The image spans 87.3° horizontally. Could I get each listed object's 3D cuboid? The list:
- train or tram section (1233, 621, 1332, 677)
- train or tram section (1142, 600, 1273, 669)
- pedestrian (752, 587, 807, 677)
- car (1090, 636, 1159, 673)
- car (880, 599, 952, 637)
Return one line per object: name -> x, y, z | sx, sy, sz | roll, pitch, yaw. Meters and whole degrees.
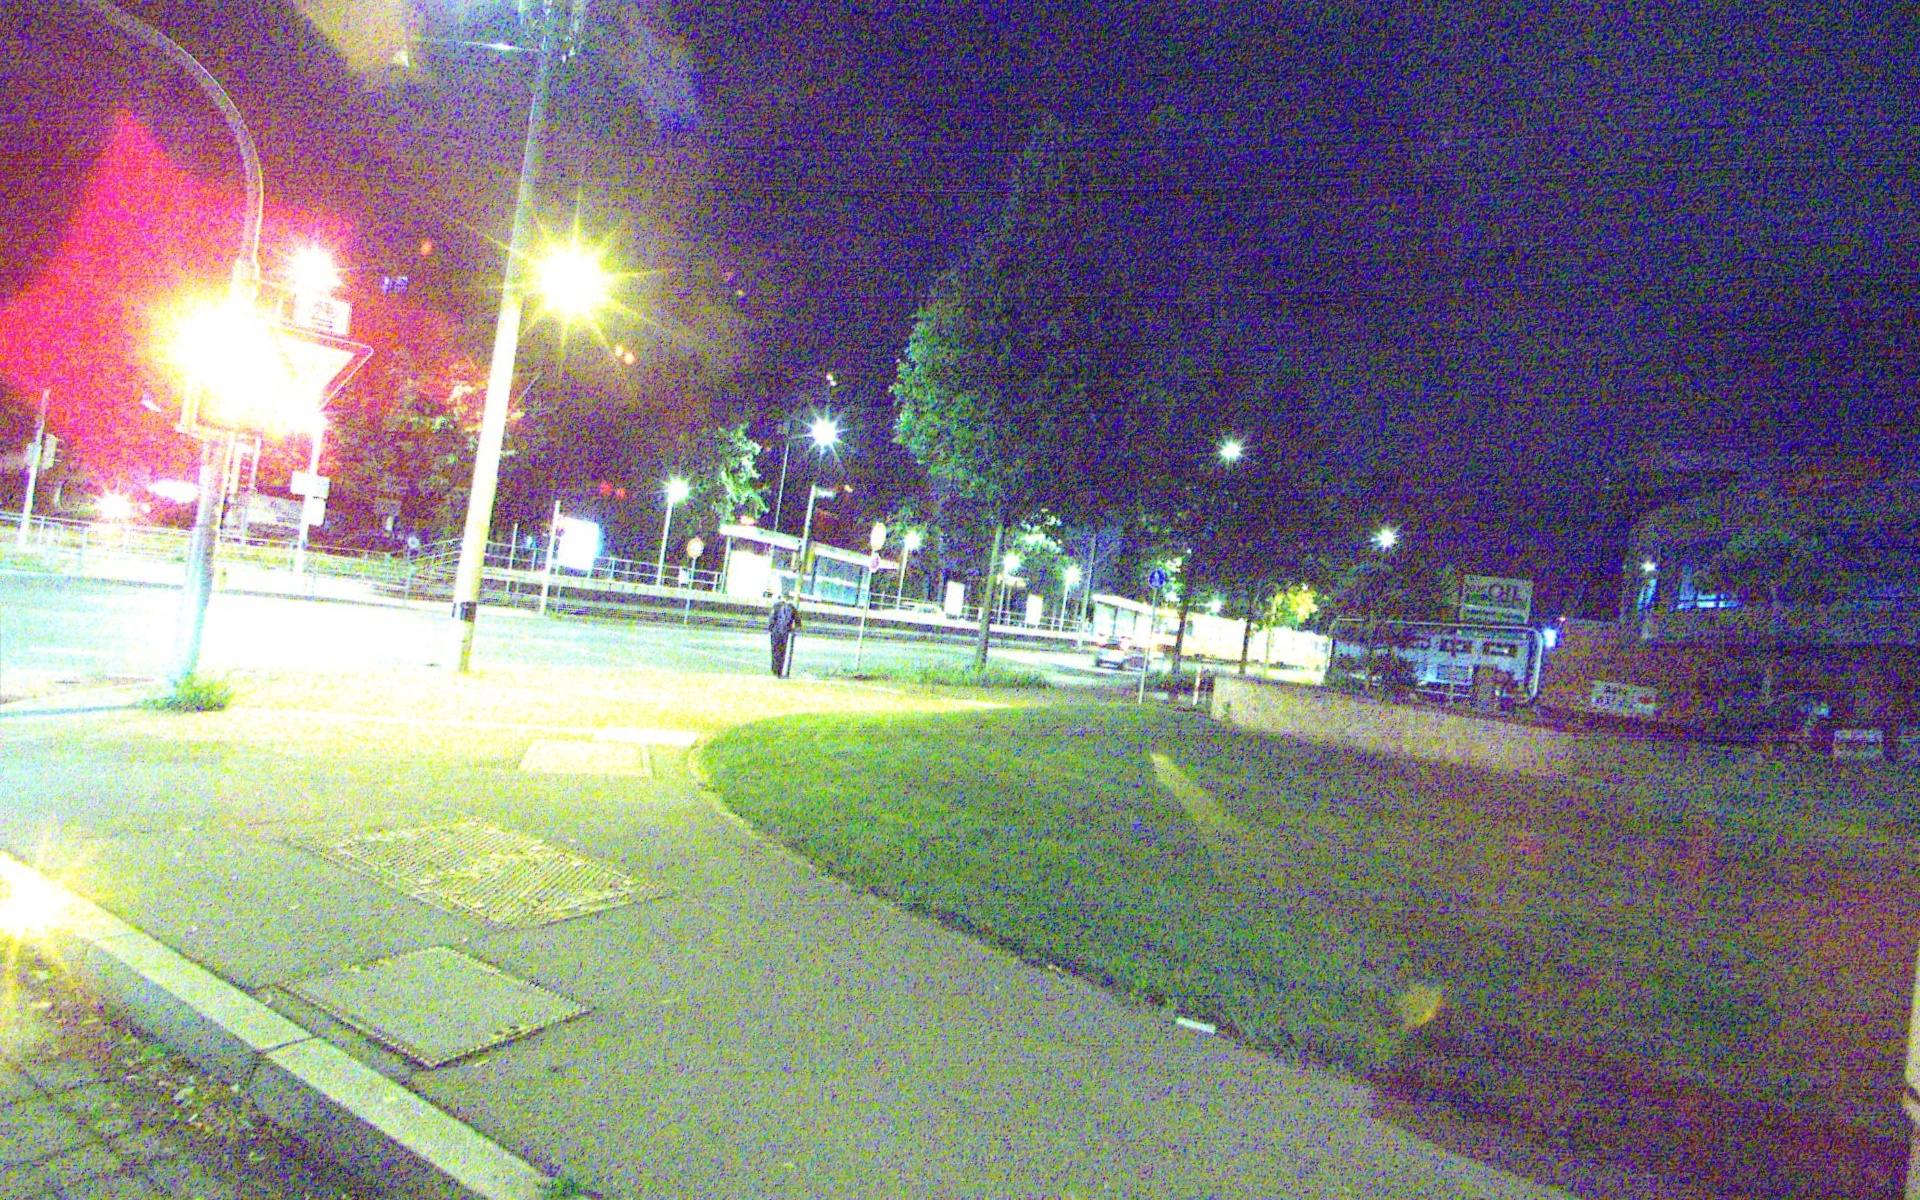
train or tram section -> 30.192, 4.724, 93.152 | 2.919, 3.894, 18.866 | 5, -2, 35
train or tram section -> 19.556, 2.904, 77.749 | 2.918, 3.896, 18.427 | 8, 0, 35
pedestrian -> -3.503, 0.610, 19.482 | 0.867, 1.677, 0.835 | 2, 1, -18
car -> 7.861, 2.615, 47.872 | 1.617, 1.438, 3.687 | 7, 0, 35
car -> -2.692, 1.147, 62.272 | 1.814, 1.866, 4.783 | 5, -2, 35
